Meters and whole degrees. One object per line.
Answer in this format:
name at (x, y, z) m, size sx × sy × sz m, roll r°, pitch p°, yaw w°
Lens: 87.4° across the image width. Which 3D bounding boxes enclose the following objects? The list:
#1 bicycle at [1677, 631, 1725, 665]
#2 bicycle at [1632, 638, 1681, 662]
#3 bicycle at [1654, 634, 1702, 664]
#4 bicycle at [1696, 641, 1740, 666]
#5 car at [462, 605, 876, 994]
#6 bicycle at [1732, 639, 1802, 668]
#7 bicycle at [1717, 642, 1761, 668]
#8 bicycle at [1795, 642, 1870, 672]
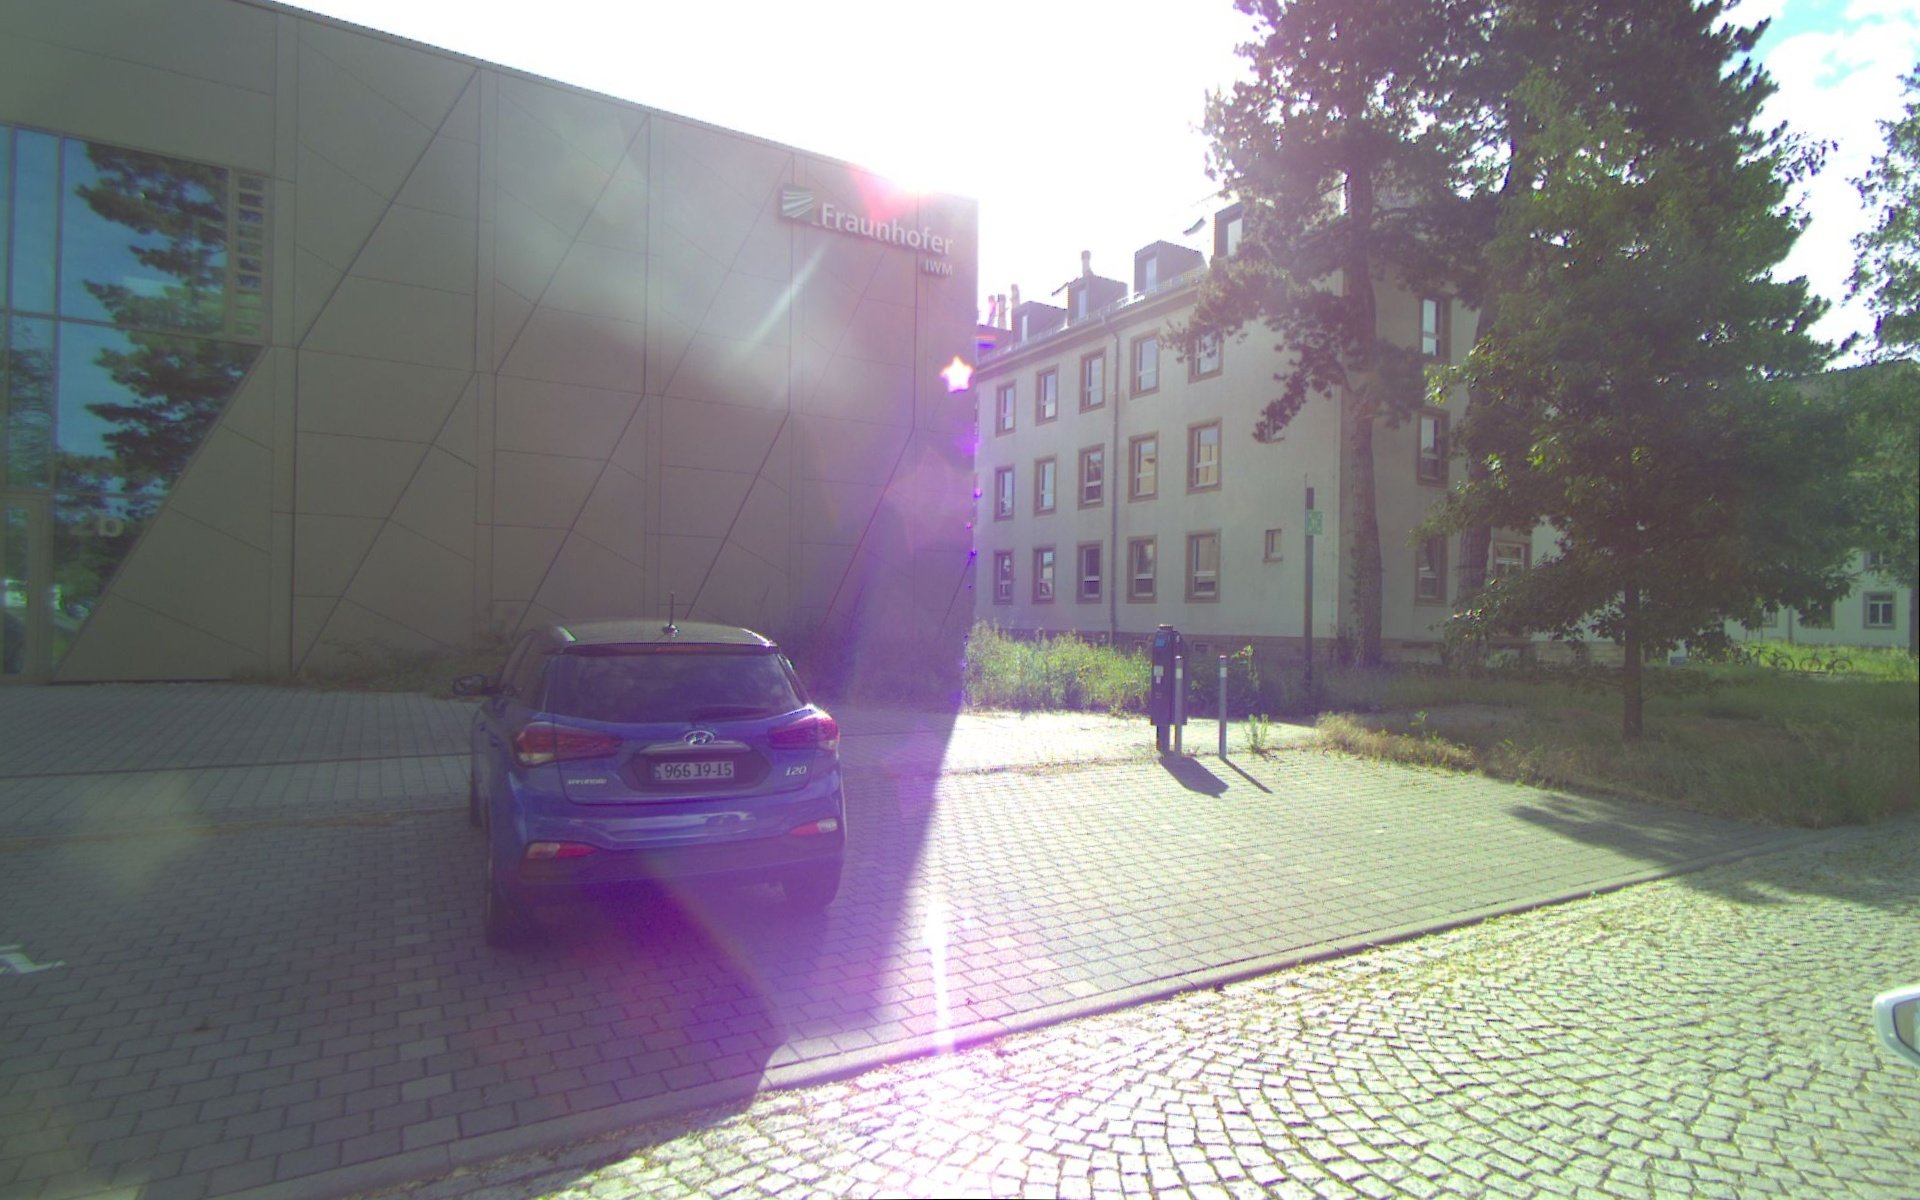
bicycle at (32.955, 2.116, 44.683) m, size 2.524 × 1.456 × 0.822 m, roll 2°, pitch -1°, yaw -31°
bicycle at (31.867, 2.295, 45.975) m, size 2.524 × 1.061 × 0.896 m, roll 2°, pitch -1°, yaw -31°
bicycle at (32.316, 2.190, 45.196) m, size 2.524 × 1.298 × 0.822 m, roll 2°, pitch -1°, yaw -31°
bicycle at (33.055, 2.329, 43.822) m, size 2.100 × 1.061 × 0.822 m, roll 2°, pitch -1°, yaw -31°
car at (-2.050, 0.838, 6.150) m, size 1.698 × 1.483 × 3.820 m, roll 2°, pitch 0°, yaw -27°
bicycle at (33.145, 2.197, 41.268) m, size 0.820 × 1.123 × 2.104 m, roll 2°, pitch -1°, yaw -33°
bicycle at (33.479, 2.342, 43.167) m, size 2.100 × 1.061 × 0.822 m, roll 2°, pitch -1°, yaw -31°
bicycle at (34.277, 2.228, 39.479) m, size 0.820 × 1.061 × 2.104 m, roll 2°, pitch -1°, yaw -33°
